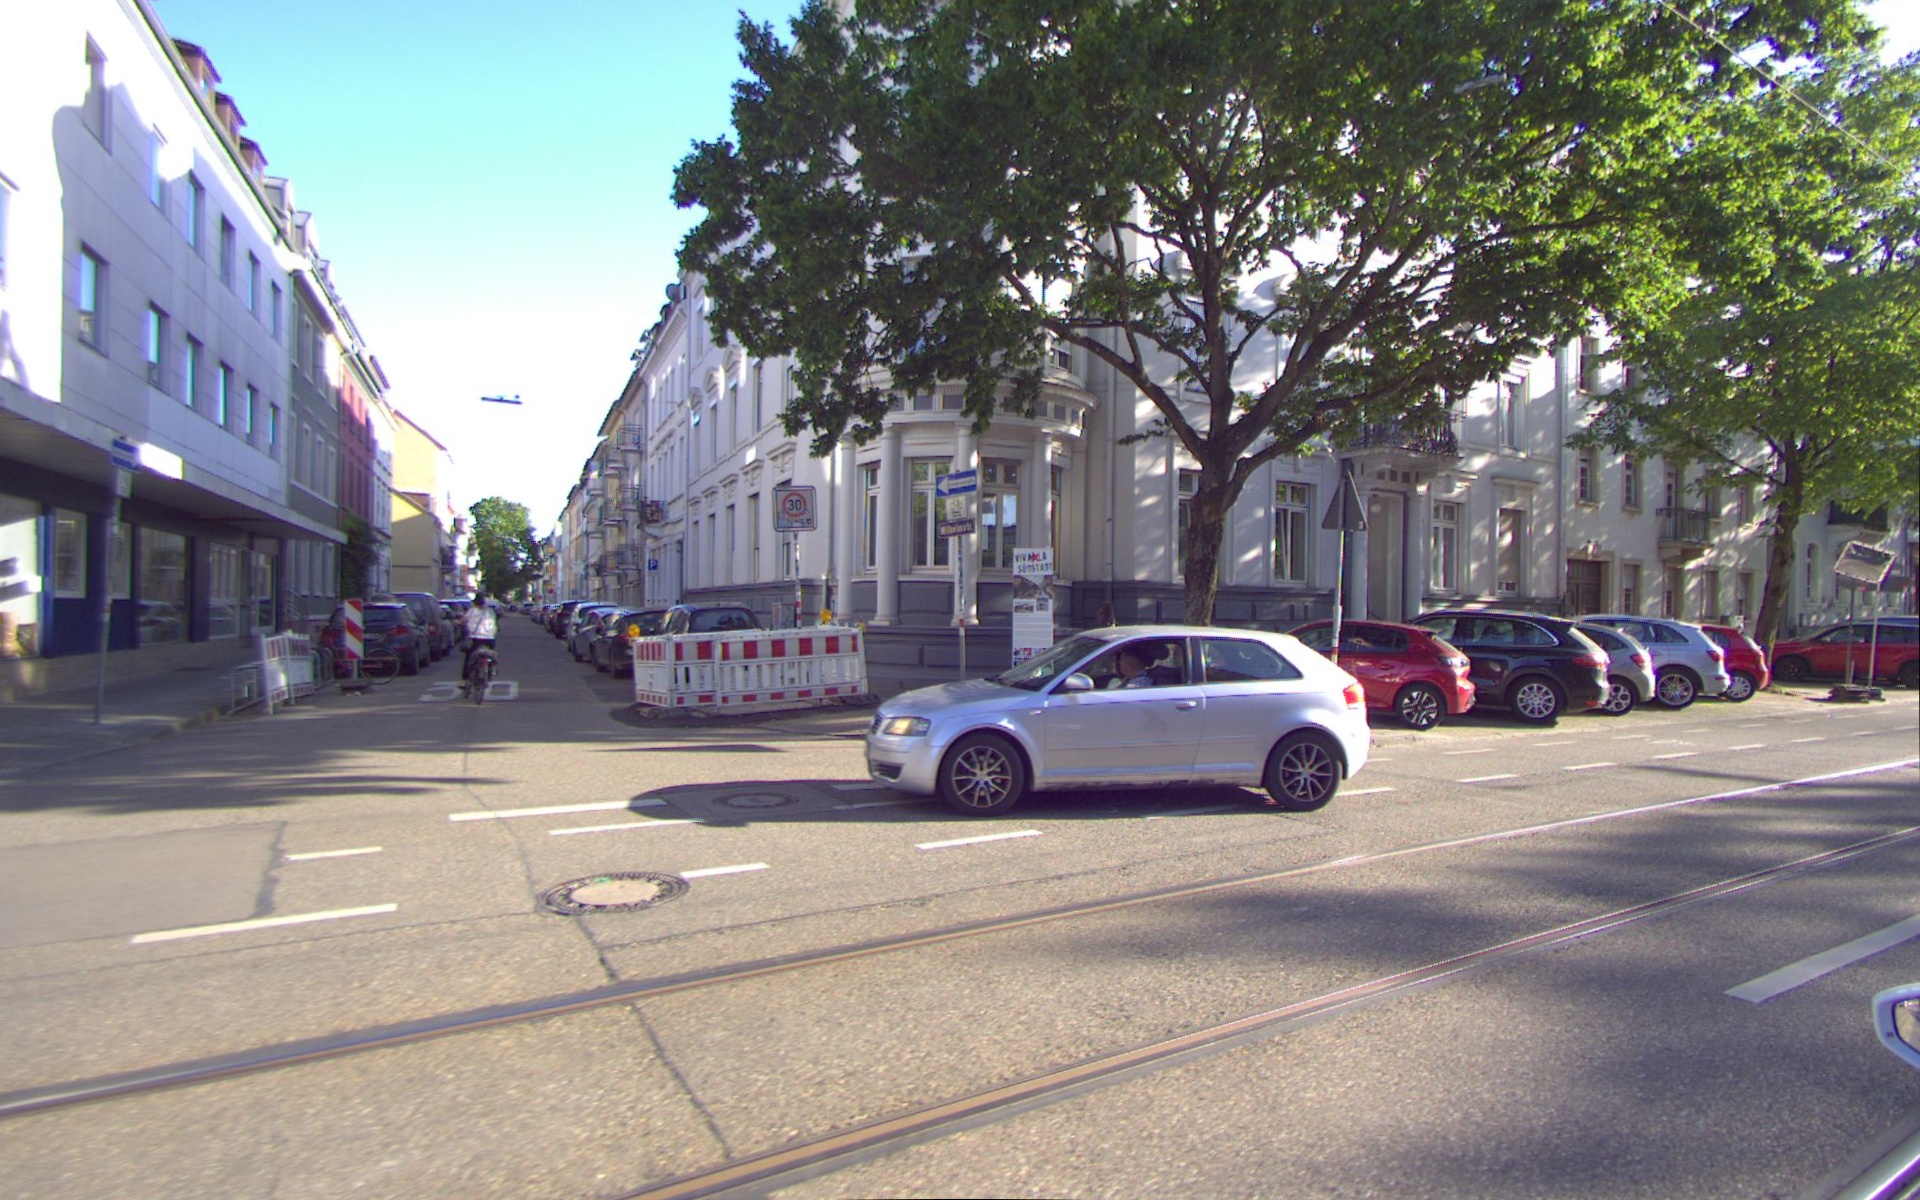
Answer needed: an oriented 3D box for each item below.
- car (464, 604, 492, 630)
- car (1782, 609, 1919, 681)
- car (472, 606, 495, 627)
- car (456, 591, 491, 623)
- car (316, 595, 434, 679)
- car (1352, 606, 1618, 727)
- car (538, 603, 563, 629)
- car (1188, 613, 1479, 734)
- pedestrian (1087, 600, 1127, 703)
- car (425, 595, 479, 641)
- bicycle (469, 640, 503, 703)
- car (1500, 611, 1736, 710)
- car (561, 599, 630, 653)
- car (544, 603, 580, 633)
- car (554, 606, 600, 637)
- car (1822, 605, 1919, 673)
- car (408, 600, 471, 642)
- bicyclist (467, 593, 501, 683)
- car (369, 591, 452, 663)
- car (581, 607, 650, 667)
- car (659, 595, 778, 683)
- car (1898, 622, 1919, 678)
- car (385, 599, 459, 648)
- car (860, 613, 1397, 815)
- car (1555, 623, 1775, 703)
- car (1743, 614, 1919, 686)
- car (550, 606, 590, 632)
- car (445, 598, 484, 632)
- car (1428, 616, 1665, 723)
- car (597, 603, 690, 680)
[{"bbox_3d":[-34.554,1.219,71.990,1.715,1.773,3.974,1,-1,-26],"label":"car"},{"bbox_3d":[25.743,1.252,28.232,3.771,1.856,1.729,2,0,29],"label":"car"},{"bbox_3d":[-40.784,1.384,85.893,1.715,1.773,3.974,1,-1,-26],"label":"car"},{"bbox_3d":[-28.957,0.418,59.840,1.714,1.773,3.976,1,-1,-24],"label":"car"},{"bbox_3d":[-12.683,0.736,22.006,1.692,1.605,3.978,1,1,-23],"label":"car"},{"bbox_3d":[8.292,0.987,16.161,3.616,1.744,1.610,0,-1,24],"label":"car"},{"bbox_3d":[-31.656,1.205,77.575,1.547,1.973,3.975,1,-1,-25],"label":"car"},{"bbox_3d":[5.543,1.011,15.030,3.840,1.472,1.637,2,0,26],"label":"car"},{"bbox_3d":[2.312,0.800,15.804,0.505,1.593,0.344,1,-1,-27],"label":"pedestrian"},{"bbox_3d":[-20.344,0.709,40.344,1.714,1.773,3.976,1,-1,-24],"label":"car"},{"bbox_3d":[-7.574,1.110,16.027,0.445,0.893,1.888,1,-1,-26],"label":"bicycle"},{"bbox_3d":[12.643,1.110,19.560,3.616,1.744,1.610,0,-1,24],"label":"car"},{"bbox_3d":[-11.899,0.831,32.675,1.778,1.639,3.975,1,-1,-25],"label":"car"},{"bbox_3d":[-23.894,1.042,60.193,1.715,1.734,3.974,1,-1,-26],"label":"car"},{"bbox_3d":[-17.627,0.962,46.109,1.714,1.372,3.976,1,-1,-24],"label":"car"},{"bbox_3d":[30.996,1.249,32.421,2.141,2.146,4.410,1,-1,-33],"label":"car"},{"bbox_3d":[-18.709,0.738,36.207,1.727,1.439,3.977,1,-1,-24],"label":"car"},{"bbox_3d":[-7.591,0.602,16.016,0.453,1.396,0.636,1,-1,-27],"label":"bicyclist"},{"bbox_3d":[-14.790,0.687,27.201,1.584,1.795,3.977,1,-1,-24],"label":"car"},{"bbox_3d":[-9.465,0.968,27.480,1.504,1.517,3.302,1,-1,-24],"label":"car"},{"bbox_3d":[-4.513,0.670,18.484,1.456,1.462,3.228,1,-1,-26],"label":"car"},{"bbox_3d":[31.628,1.598,31.238,3.325,1.720,1.402,1,-1,32],"label":"car"},{"bbox_3d":[-16.982,0.725,31.866,1.727,1.439,3.977,1,-1,-24],"label":"car"},{"bbox_3d":[1.265,0.858,8.381,4.095,1.455,1.712,1,-1,-9],"label":"car"},{"bbox_3d":[14.923,1.297,21.473,3.616,1.548,1.482,0,-1,24],"label":"car"},{"bbox_3d":[23.295,1.277,26.412,4.101,1.743,1.580,1,0,32],"label":"car"},{"bbox_3d":[-21.306,1.016,54.758,1.715,1.372,3.974,1,-1,-26],"label":"car"},{"bbox_3d":[-24.425,0.734,49.596,1.528,1.580,3.592,1,-1,-24],"label":"car"},{"bbox_3d":[10.326,1.167,17.971,3.500,1.684,1.736,1,-1,26],"label":"car"},{"bbox_3d":[-7.137,0.876,22.448,1.456,1.569,3.746,1,-1,-26],"label":"car"}]
